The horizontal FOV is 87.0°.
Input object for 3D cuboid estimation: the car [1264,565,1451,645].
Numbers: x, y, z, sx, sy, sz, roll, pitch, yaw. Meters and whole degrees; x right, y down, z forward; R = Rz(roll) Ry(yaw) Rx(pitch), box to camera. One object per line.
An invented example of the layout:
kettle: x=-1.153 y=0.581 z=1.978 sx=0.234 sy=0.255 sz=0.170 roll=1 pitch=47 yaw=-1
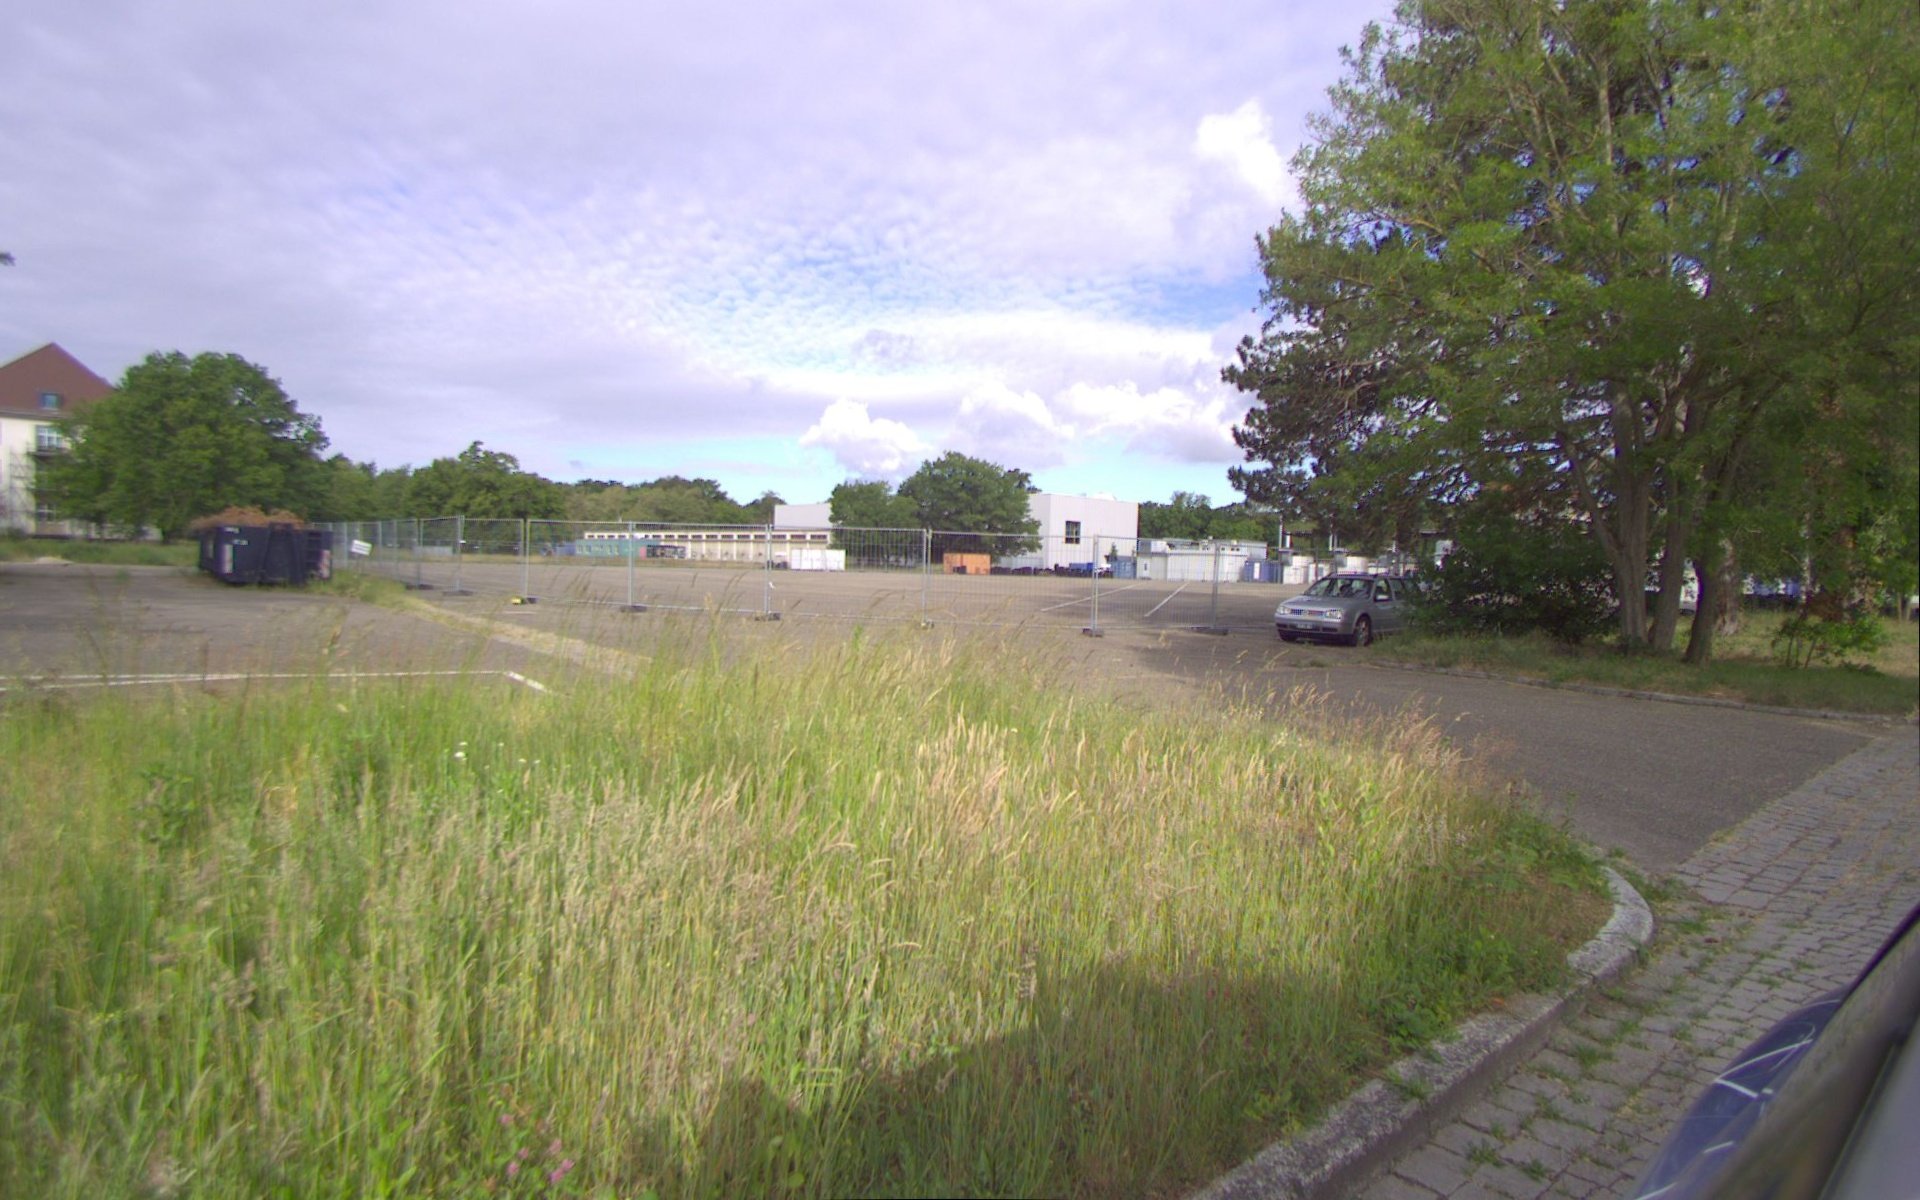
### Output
car: x=8.334 y=0.069 z=21.065 sx=4.250 sy=1.466 sz=1.759 roll=0 pitch=3 yaw=-40
